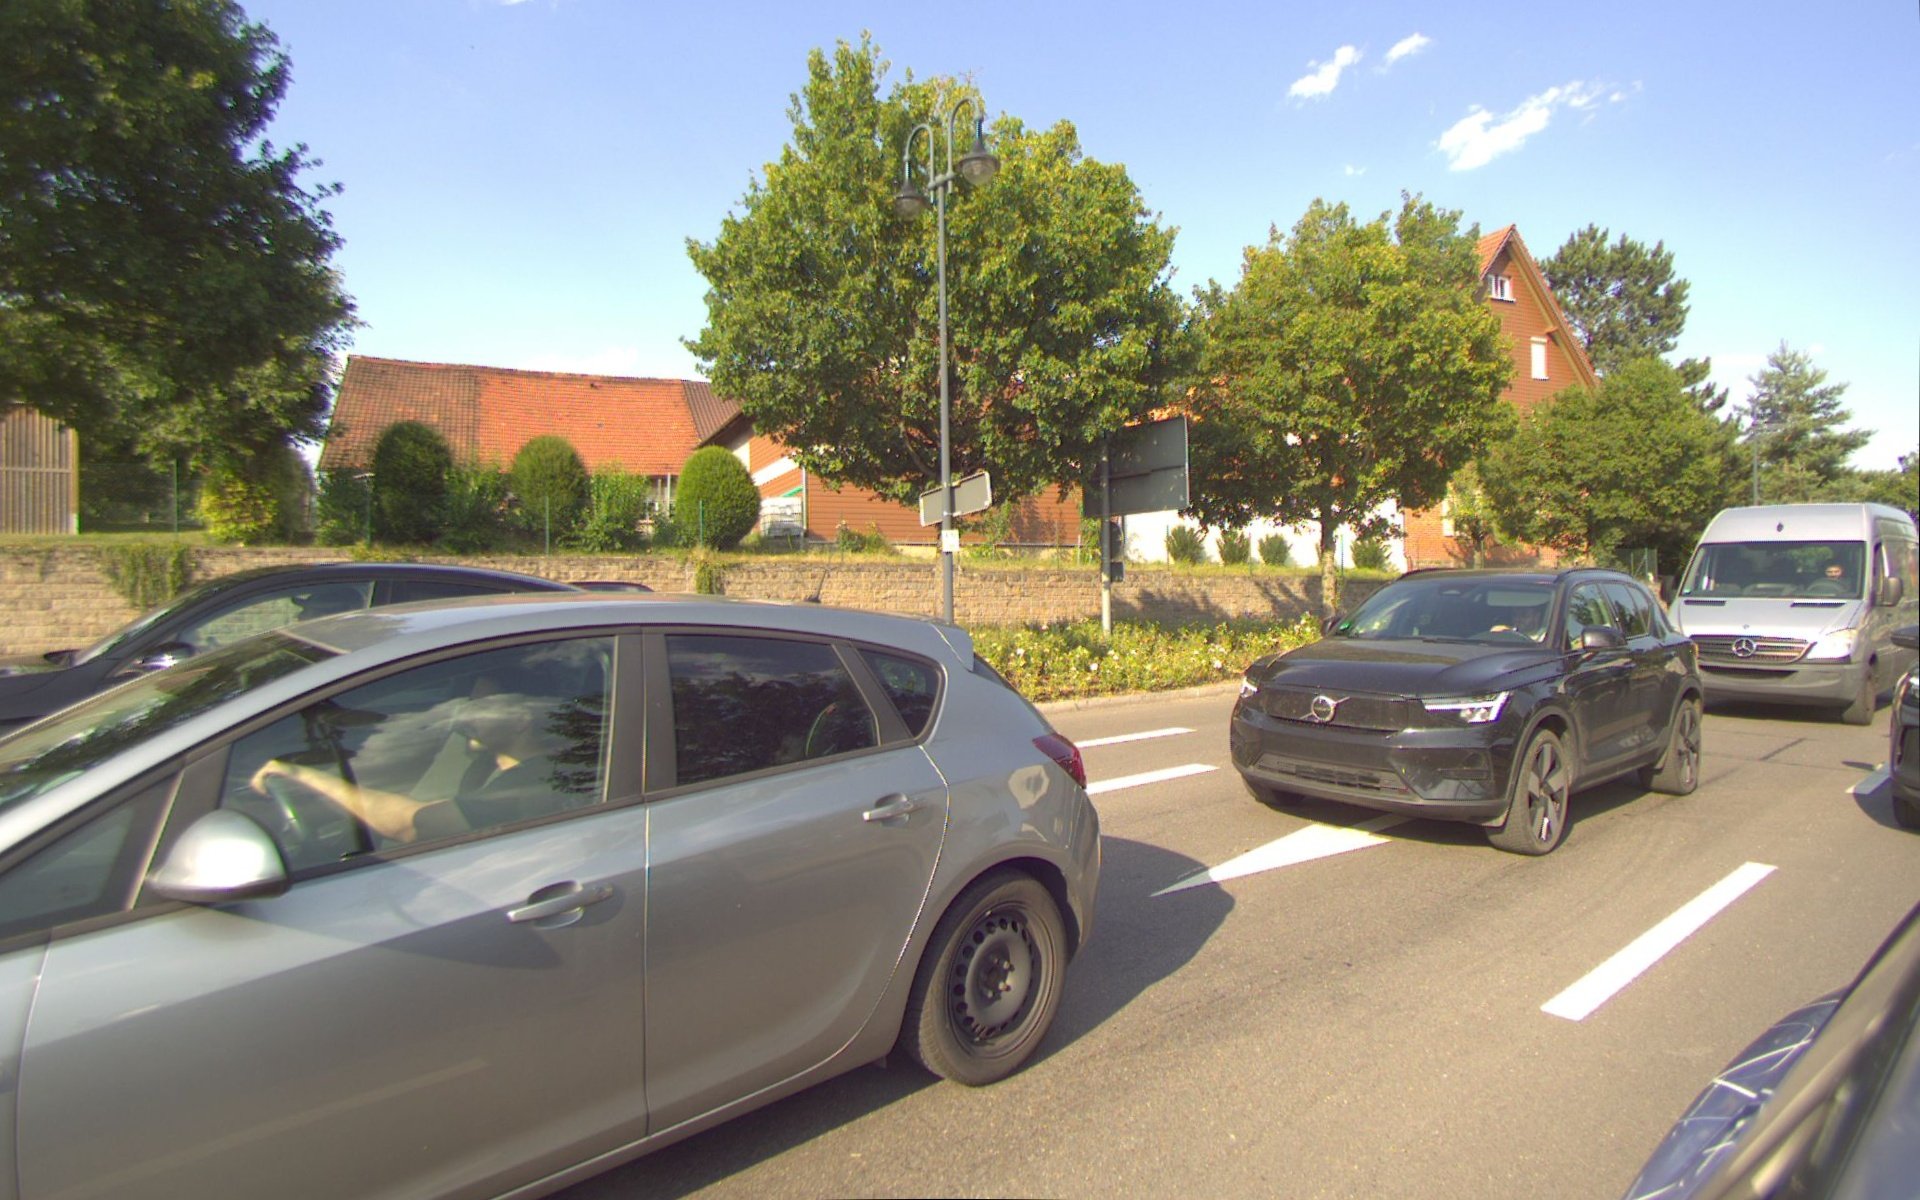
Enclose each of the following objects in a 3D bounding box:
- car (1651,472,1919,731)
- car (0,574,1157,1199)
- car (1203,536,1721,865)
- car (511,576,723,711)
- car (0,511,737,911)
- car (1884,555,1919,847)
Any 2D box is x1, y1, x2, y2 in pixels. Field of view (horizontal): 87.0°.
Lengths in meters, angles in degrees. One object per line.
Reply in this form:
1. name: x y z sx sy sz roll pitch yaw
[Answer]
1. car: 11.382 -0.031 13.458 6.533 2.691 2.038 -1 1 -41
2. car: -1.399 0.665 2.679 4.072 1.440 1.650 -1 2 -42
3. car: 3.616 0.466 6.974 3.985 1.625 1.791 -1 1 -40
4. car: -4.535 0.443 13.008 1.714 1.449 4.002 -1 1 -32
5. car: -3.617 0.430 5.465 4.420 1.586 1.841 -1 0 -43
6. car: 7.285 0.534 6.305 3.985 1.611 1.767 -1 0 -40
